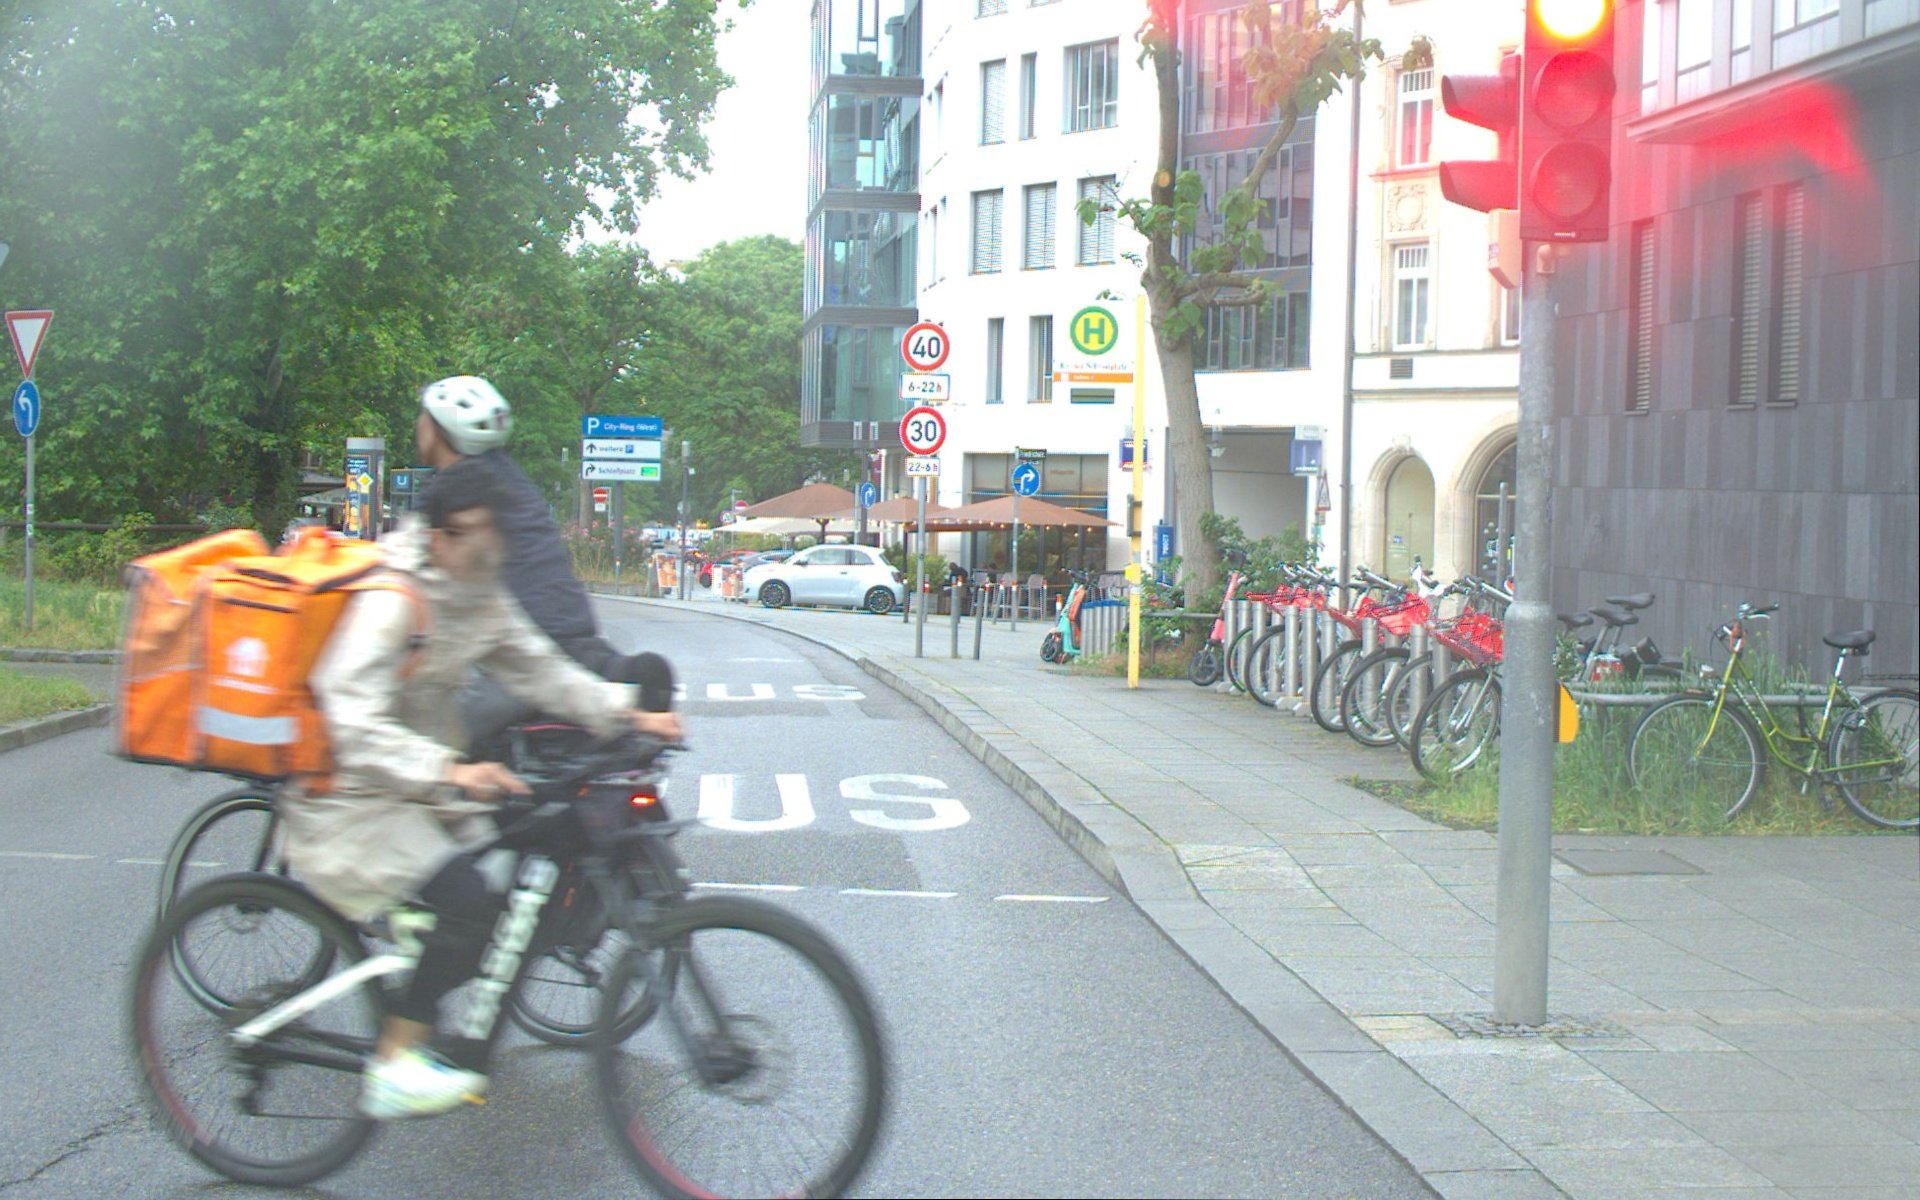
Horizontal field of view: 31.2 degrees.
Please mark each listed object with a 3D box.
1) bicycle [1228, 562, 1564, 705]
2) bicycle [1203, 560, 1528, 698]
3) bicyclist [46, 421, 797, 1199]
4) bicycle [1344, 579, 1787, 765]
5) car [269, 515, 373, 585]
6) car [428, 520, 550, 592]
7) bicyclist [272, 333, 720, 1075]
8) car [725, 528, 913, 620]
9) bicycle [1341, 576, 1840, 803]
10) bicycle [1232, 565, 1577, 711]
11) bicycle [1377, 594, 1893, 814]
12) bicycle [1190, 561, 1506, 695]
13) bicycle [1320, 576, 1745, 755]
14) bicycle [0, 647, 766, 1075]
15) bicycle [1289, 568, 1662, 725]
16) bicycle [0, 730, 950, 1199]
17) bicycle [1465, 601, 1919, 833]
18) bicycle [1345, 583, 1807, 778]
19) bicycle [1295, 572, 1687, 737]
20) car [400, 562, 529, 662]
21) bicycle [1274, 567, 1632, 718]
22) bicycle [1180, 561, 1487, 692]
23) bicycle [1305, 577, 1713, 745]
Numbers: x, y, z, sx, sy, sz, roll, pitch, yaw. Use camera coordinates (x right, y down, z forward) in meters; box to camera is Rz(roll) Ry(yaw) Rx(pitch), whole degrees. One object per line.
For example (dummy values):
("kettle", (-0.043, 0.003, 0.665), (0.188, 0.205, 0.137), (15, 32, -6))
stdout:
("bicycle", (3.431, 0.260, 27.175), (2.535, 1.083, 0.677), (1, 1, -5))
("bicycle", (3.296, 0.231, 28.064), (2.535, 1.083, 0.677), (1, 1, -5))
("bicyclist", (-1.149, 0.453, 7.453), (1.134, 1.577, 1.013), (4, 1, 29))
("bicycle", (3.653, 0.428, 20.824), (2.535, 1.083, 0.677), (1, 1, -5))
("car", (-16.052, -1.268, 86.246), (1.944, 1.641, 4.246), (1, 1, -19))
("car", (-11.836, -1.119, 86.162), (2.178, 1.695, 4.001), (1, 1, -20))
("bicyclist", (-1.353, 0.281, 10.128), (1.082, 2.076, 0.762), (1, 1, 15))
("car", (-3.148, -0.599, 76.490), (3.986, 1.641, 2.000), (5, 1, -3))
("bicycle", (3.419, 0.480, 18.744), (2.535, 1.083, 0.677), (3, 1, -5))
("bicycle", (3.405, 0.289, 26.423), (2.535, 1.083, 0.677), (1, 1, -5))
("bicycle", (3.505, 0.535, 17.941), (2.535, 1.083, 0.677), (1, 1, -5))
("bicycle", (3.240, 0.229, 28.811), (2.535, 1.083, 0.677), (1, 1, -5))
("bicycle", (3.586, 0.408, 21.634), (2.535, 1.083, 0.677), (1, 1, -5))
("bicycle", (-1.714, 0.738, 10.234), (2.127, 1.141, 0.762), (1, 1, 15))
("bicycle", (3.678, 0.329, 24.606), (2.535, 1.083, 0.677), (1, 1, -5))
("bicycle", (-1.188, 0.896, 7.471), (2.064, 1.110, 1.010), (2, 0, 29))
("bicycle", (3.751, 0.553, 16.464), (2.535, 1.053, 0.677), (1, 1, -5))
("bicycle", (3.564, 0.462, 19.970), (2.535, 1.083, 0.677), (1, 1, -5))
("bicycle", (3.600, 0.364, 23.409), (2.535, 1.083, 0.677), (1, 1, -5))
("car", (-9.438, 0.198, 65.206), (2.161, 1.700, 4.555), (1, 1, -11))
("bicycle", (3.655, 0.309, 25.584), (2.535, 1.083, 0.677), (1, 1, -5))
("bicycle", (3.196, 0.225, 29.533), (2.535, 1.083, 0.627), (1, 1, -5))
("bicycle", (3.582, 0.395, 22.501), (2.535, 1.056, 0.677), (1, 1, -5))
